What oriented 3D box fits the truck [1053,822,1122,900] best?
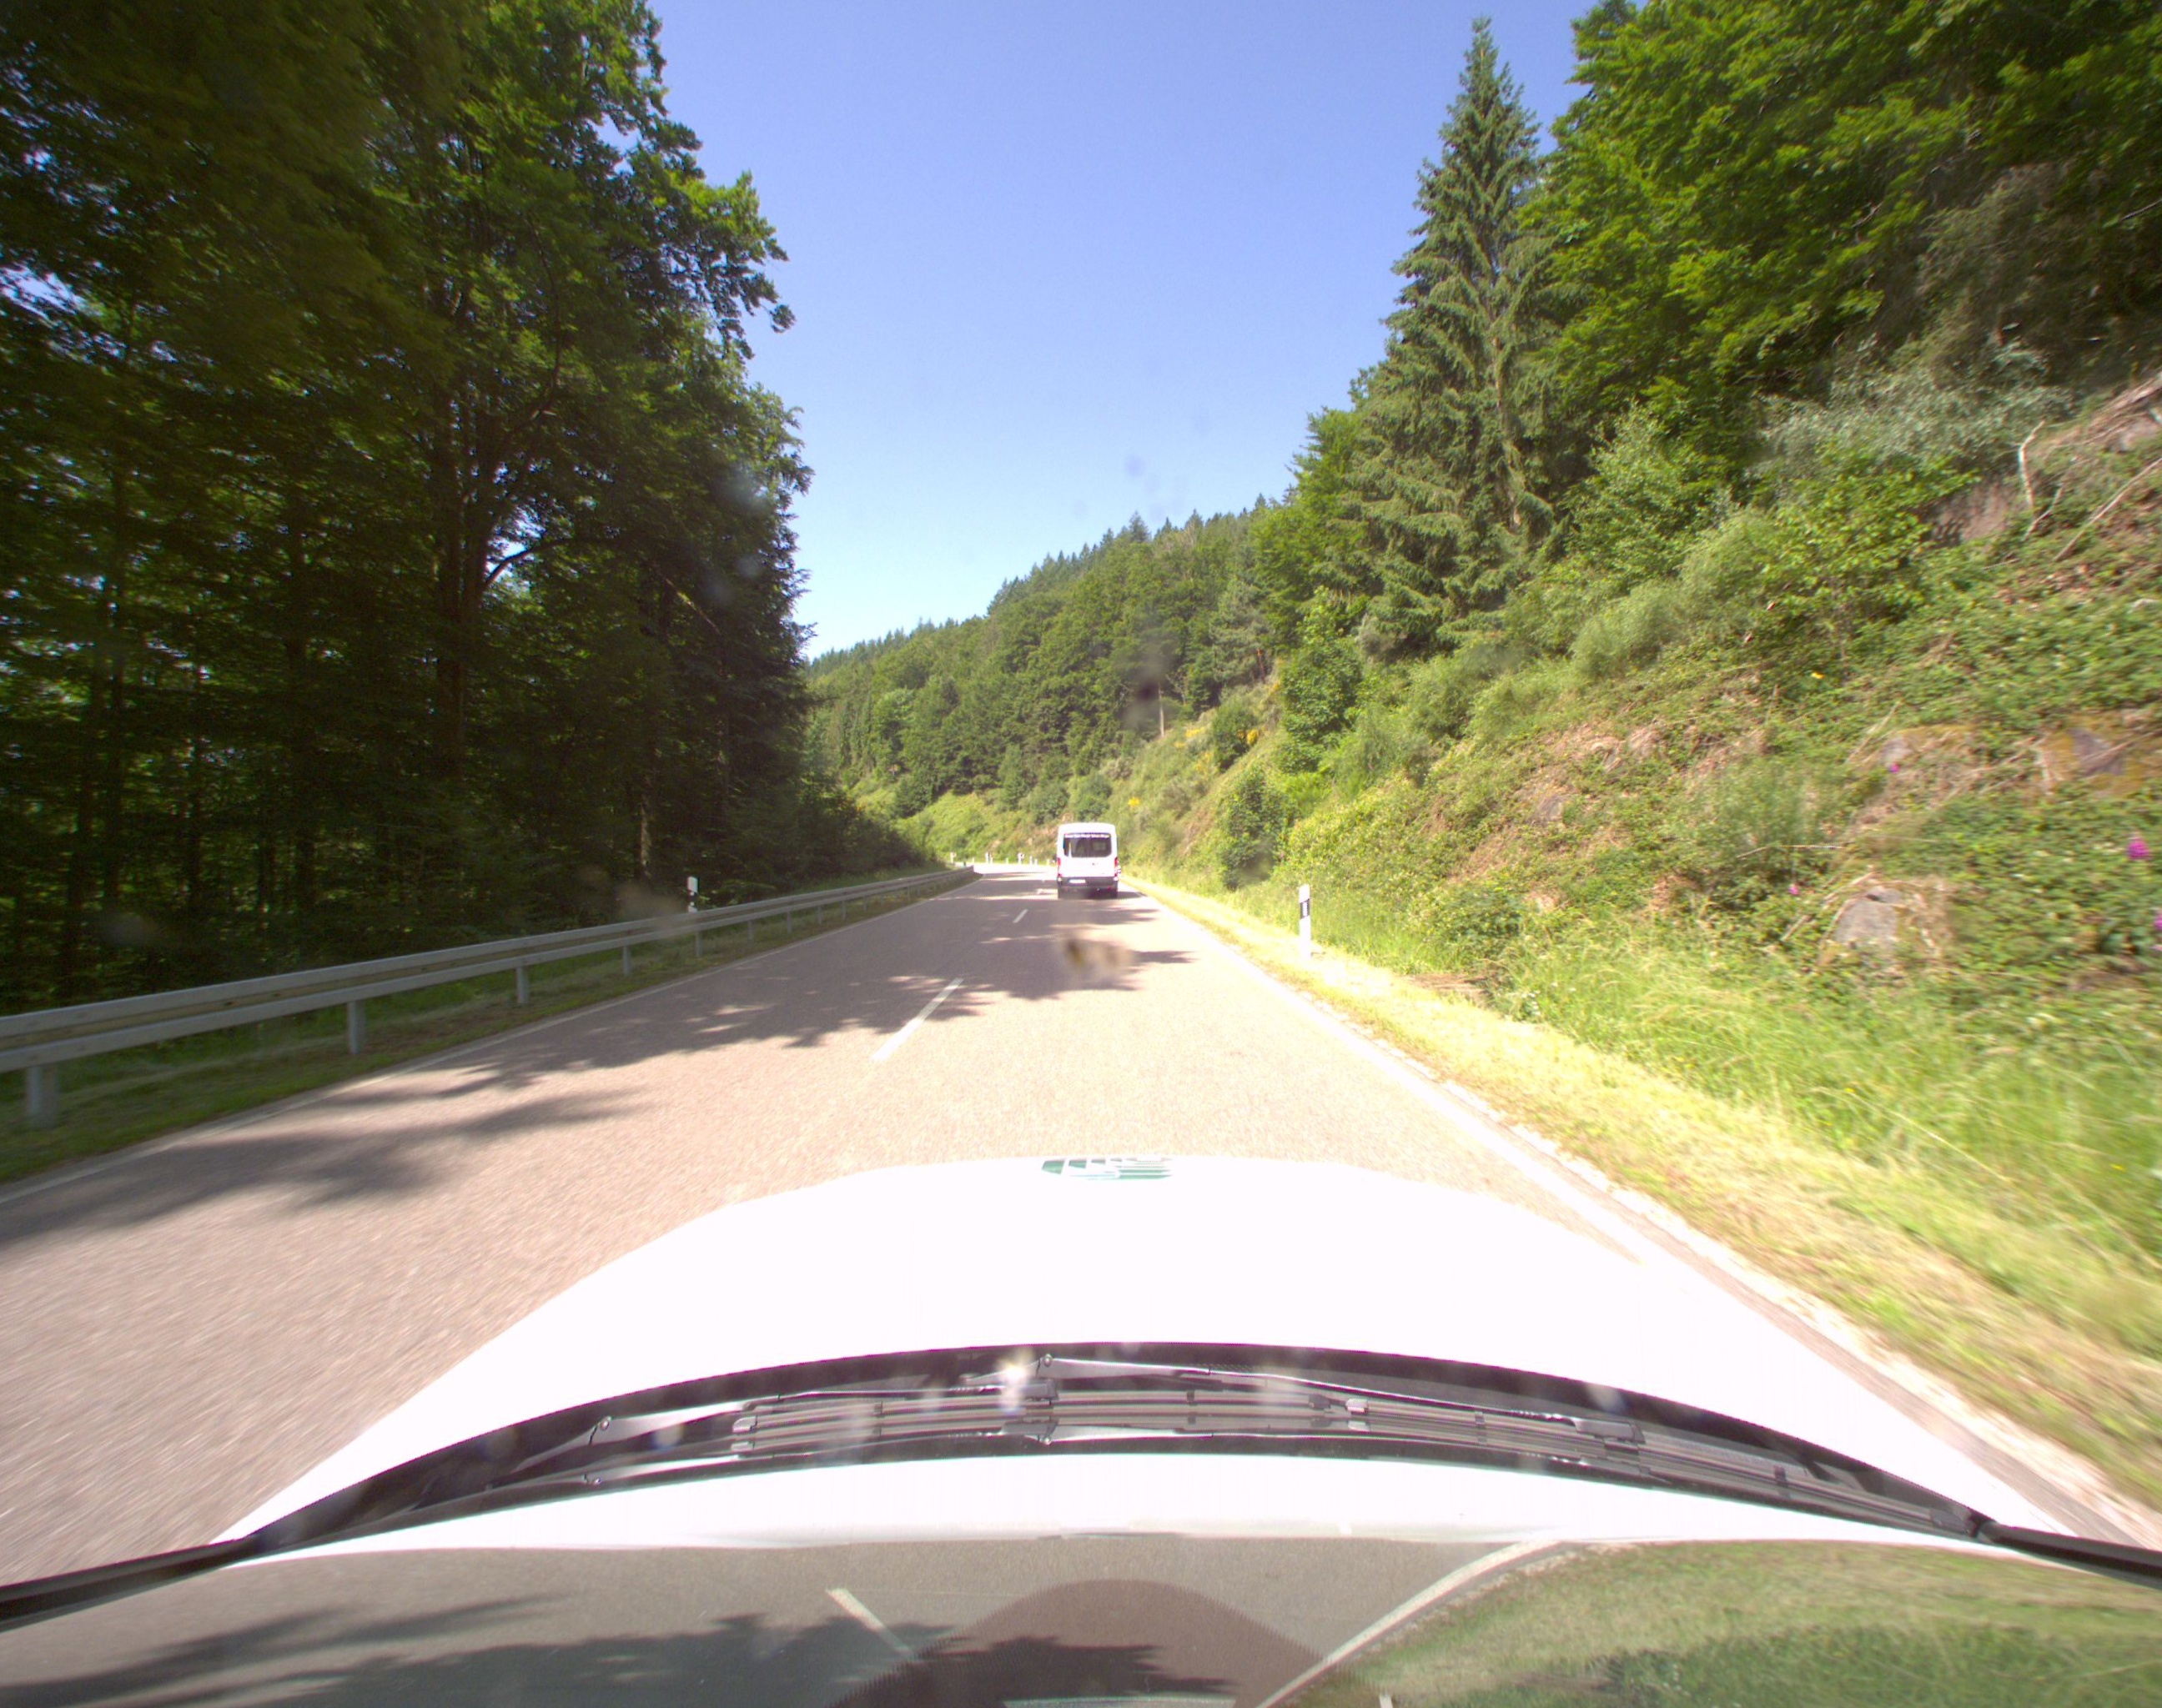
[{"bbox_3d":[0.117,0.204,28.292,2.079,2.459,4.869,-1,0,-3],"label":"truck"}]
